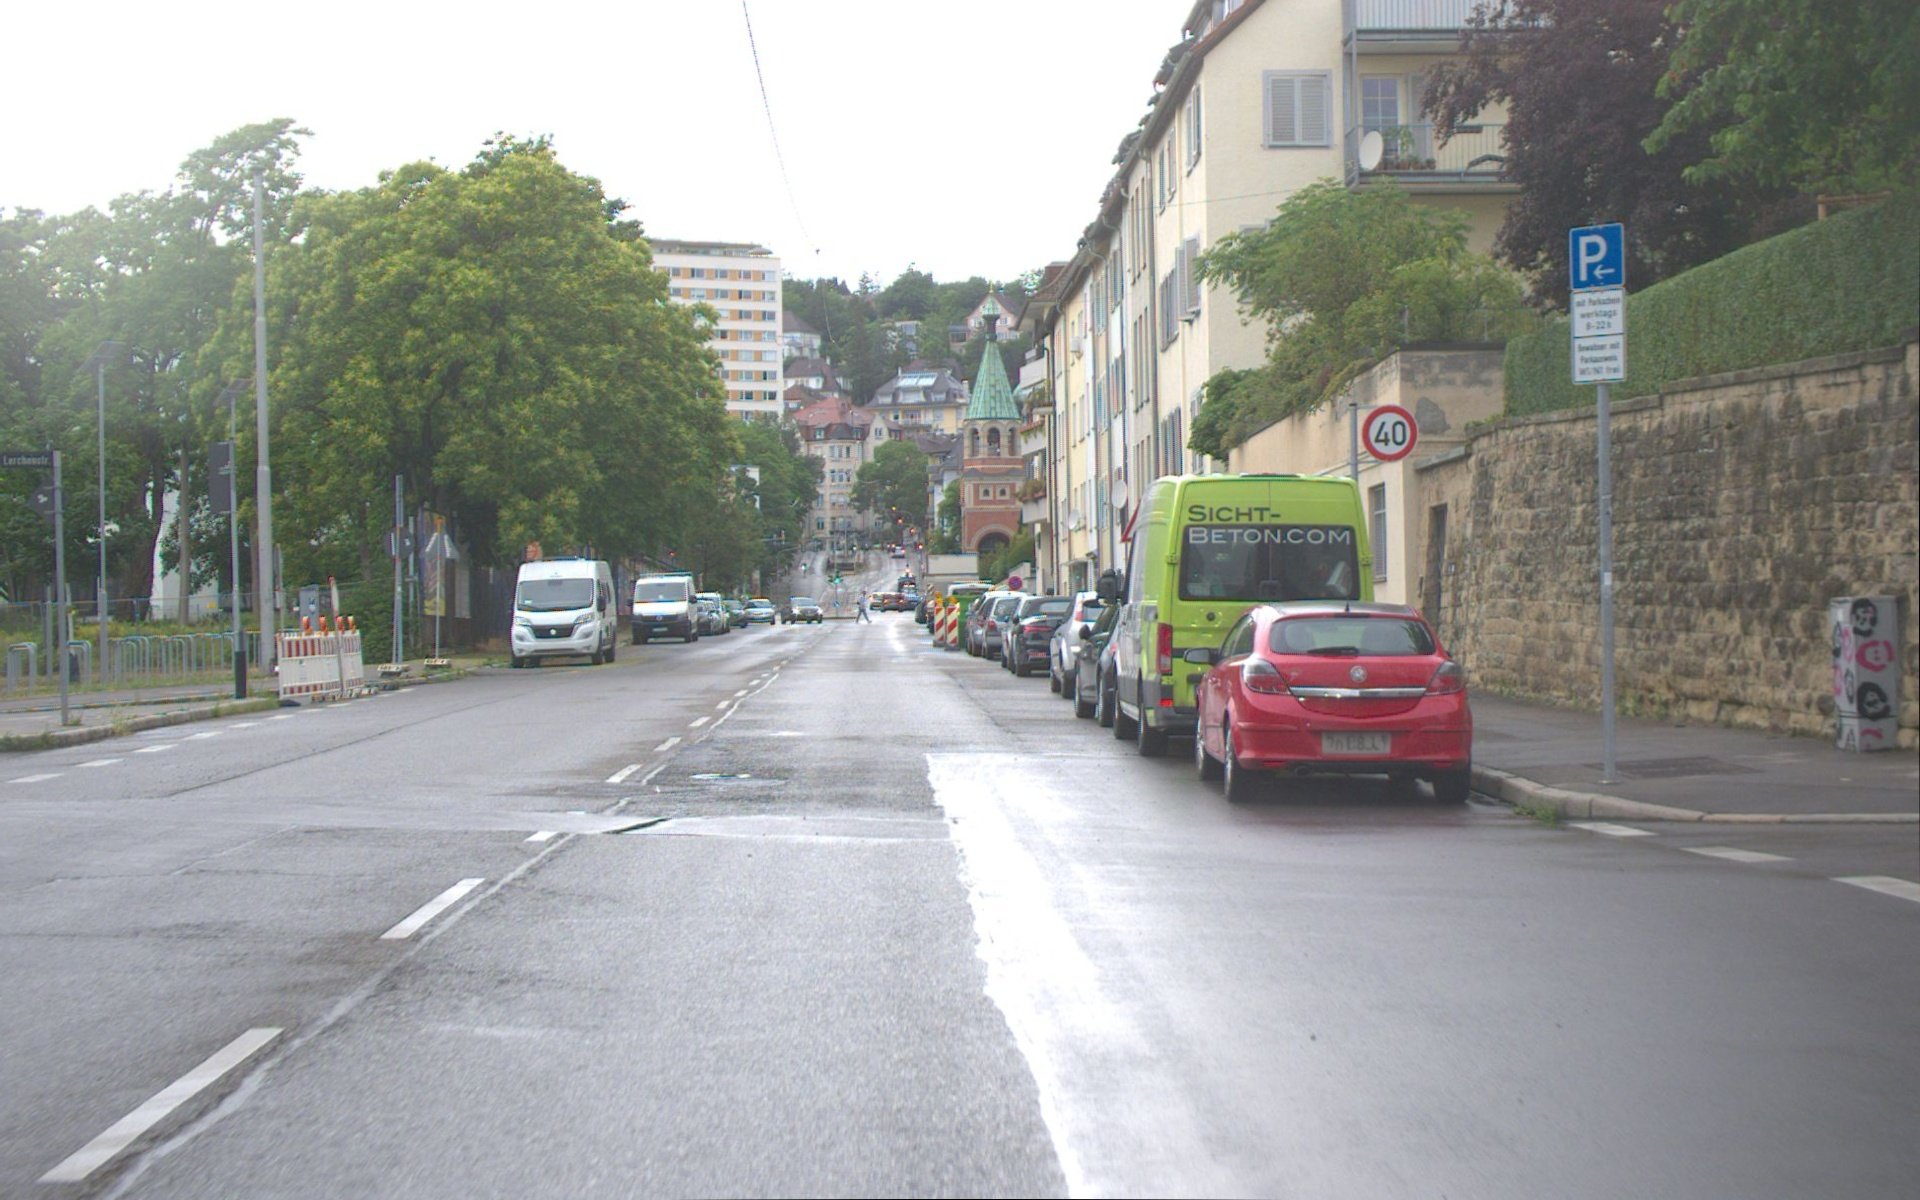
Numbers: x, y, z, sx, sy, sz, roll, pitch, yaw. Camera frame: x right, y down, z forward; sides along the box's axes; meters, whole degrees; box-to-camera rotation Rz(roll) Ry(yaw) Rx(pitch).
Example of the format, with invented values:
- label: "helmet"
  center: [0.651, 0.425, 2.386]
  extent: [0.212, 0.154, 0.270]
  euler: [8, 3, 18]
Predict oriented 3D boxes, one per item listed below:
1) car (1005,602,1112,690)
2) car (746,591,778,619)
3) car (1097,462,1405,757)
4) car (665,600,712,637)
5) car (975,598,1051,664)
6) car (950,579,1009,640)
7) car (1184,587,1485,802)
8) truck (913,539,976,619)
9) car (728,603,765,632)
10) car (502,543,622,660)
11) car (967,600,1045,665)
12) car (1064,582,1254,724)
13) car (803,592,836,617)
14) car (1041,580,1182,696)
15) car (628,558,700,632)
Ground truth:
- label: "car"
  center: [1.708, 0.781, 60.433]
  extent: [1.629, 1.449, 3.760]
  euler: [1, 0, -2]
- label: "car"
  center: [-11.029, 0.278, 191.696]
  extent: [1.709, 1.446, 4.294]
  euler: [-1, -1, -2]
- label: "car"
  center: [2.570, 0.053, 31.947]
  extent: [2.205, 2.455, 6.080]
  euler: [1, 0, -1]
- label: "car"
  center: [-10.716, 0.739, 135.808]
  extent: [1.682, 1.394, 3.911]
  euler: [-2, 0, -2]
- label: "car"
  center: [1.197, 0.691, 79.364]
  extent: [1.558, 1.449, 3.760]
  euler: [1, 0, -2]
- label: "car"
  center: [0.628, 0.302, 114.301]
  extent: [1.817, 1.917, 4.239]
  euler: [-2, 0, -1]
- label: "car"
  center: [2.673, 0.629, 25.371]
  extent: [1.721, 1.416, 4.203]
  euler: [1, 0, 0]
- label: "truck"
  center: [-0.657, -0.811, 140.571]
  extent: [2.469, 3.161, 7.036]
  euler: [-1, 0, -1]
- label: "car"
  center: [-10.915, 0.908, 175.986]
  extent: [1.803, 1.446, 4.658]
  euler: [-1, -1, -3]
- label: "car"
  center: [-9.360, 0.015, 81.353]
  extent: [2.230, 2.570, 6.538]
  euler: [-2, 0, -2]
- label: "car"
  center: [1.105, 0.786, 84.950]
  extent: [1.716, 1.519, 4.000]
  euler: [1, 0, -2]
- label: "car"
  center: [2.140, 0.542, 37.989]
  extent: [1.688, 1.449, 4.235]
  euler: [1, 0, -2]
- label: "car"
  center: [-8.013, 0.258, 195.613]
  extent: [1.805, 1.411, 4.384]
  euler: [-1, 0, -3]
- label: "car"
  center: [2.148, 0.586, 49.635]
  extent: [1.688, 1.449, 4.234]
  euler: [1, -4, -2]
- label: "car"
  center: [-10.329, -0.188, 120.260]
  extent: [2.012, 2.479, 5.983]
  euler: [-2, 0, -1]
